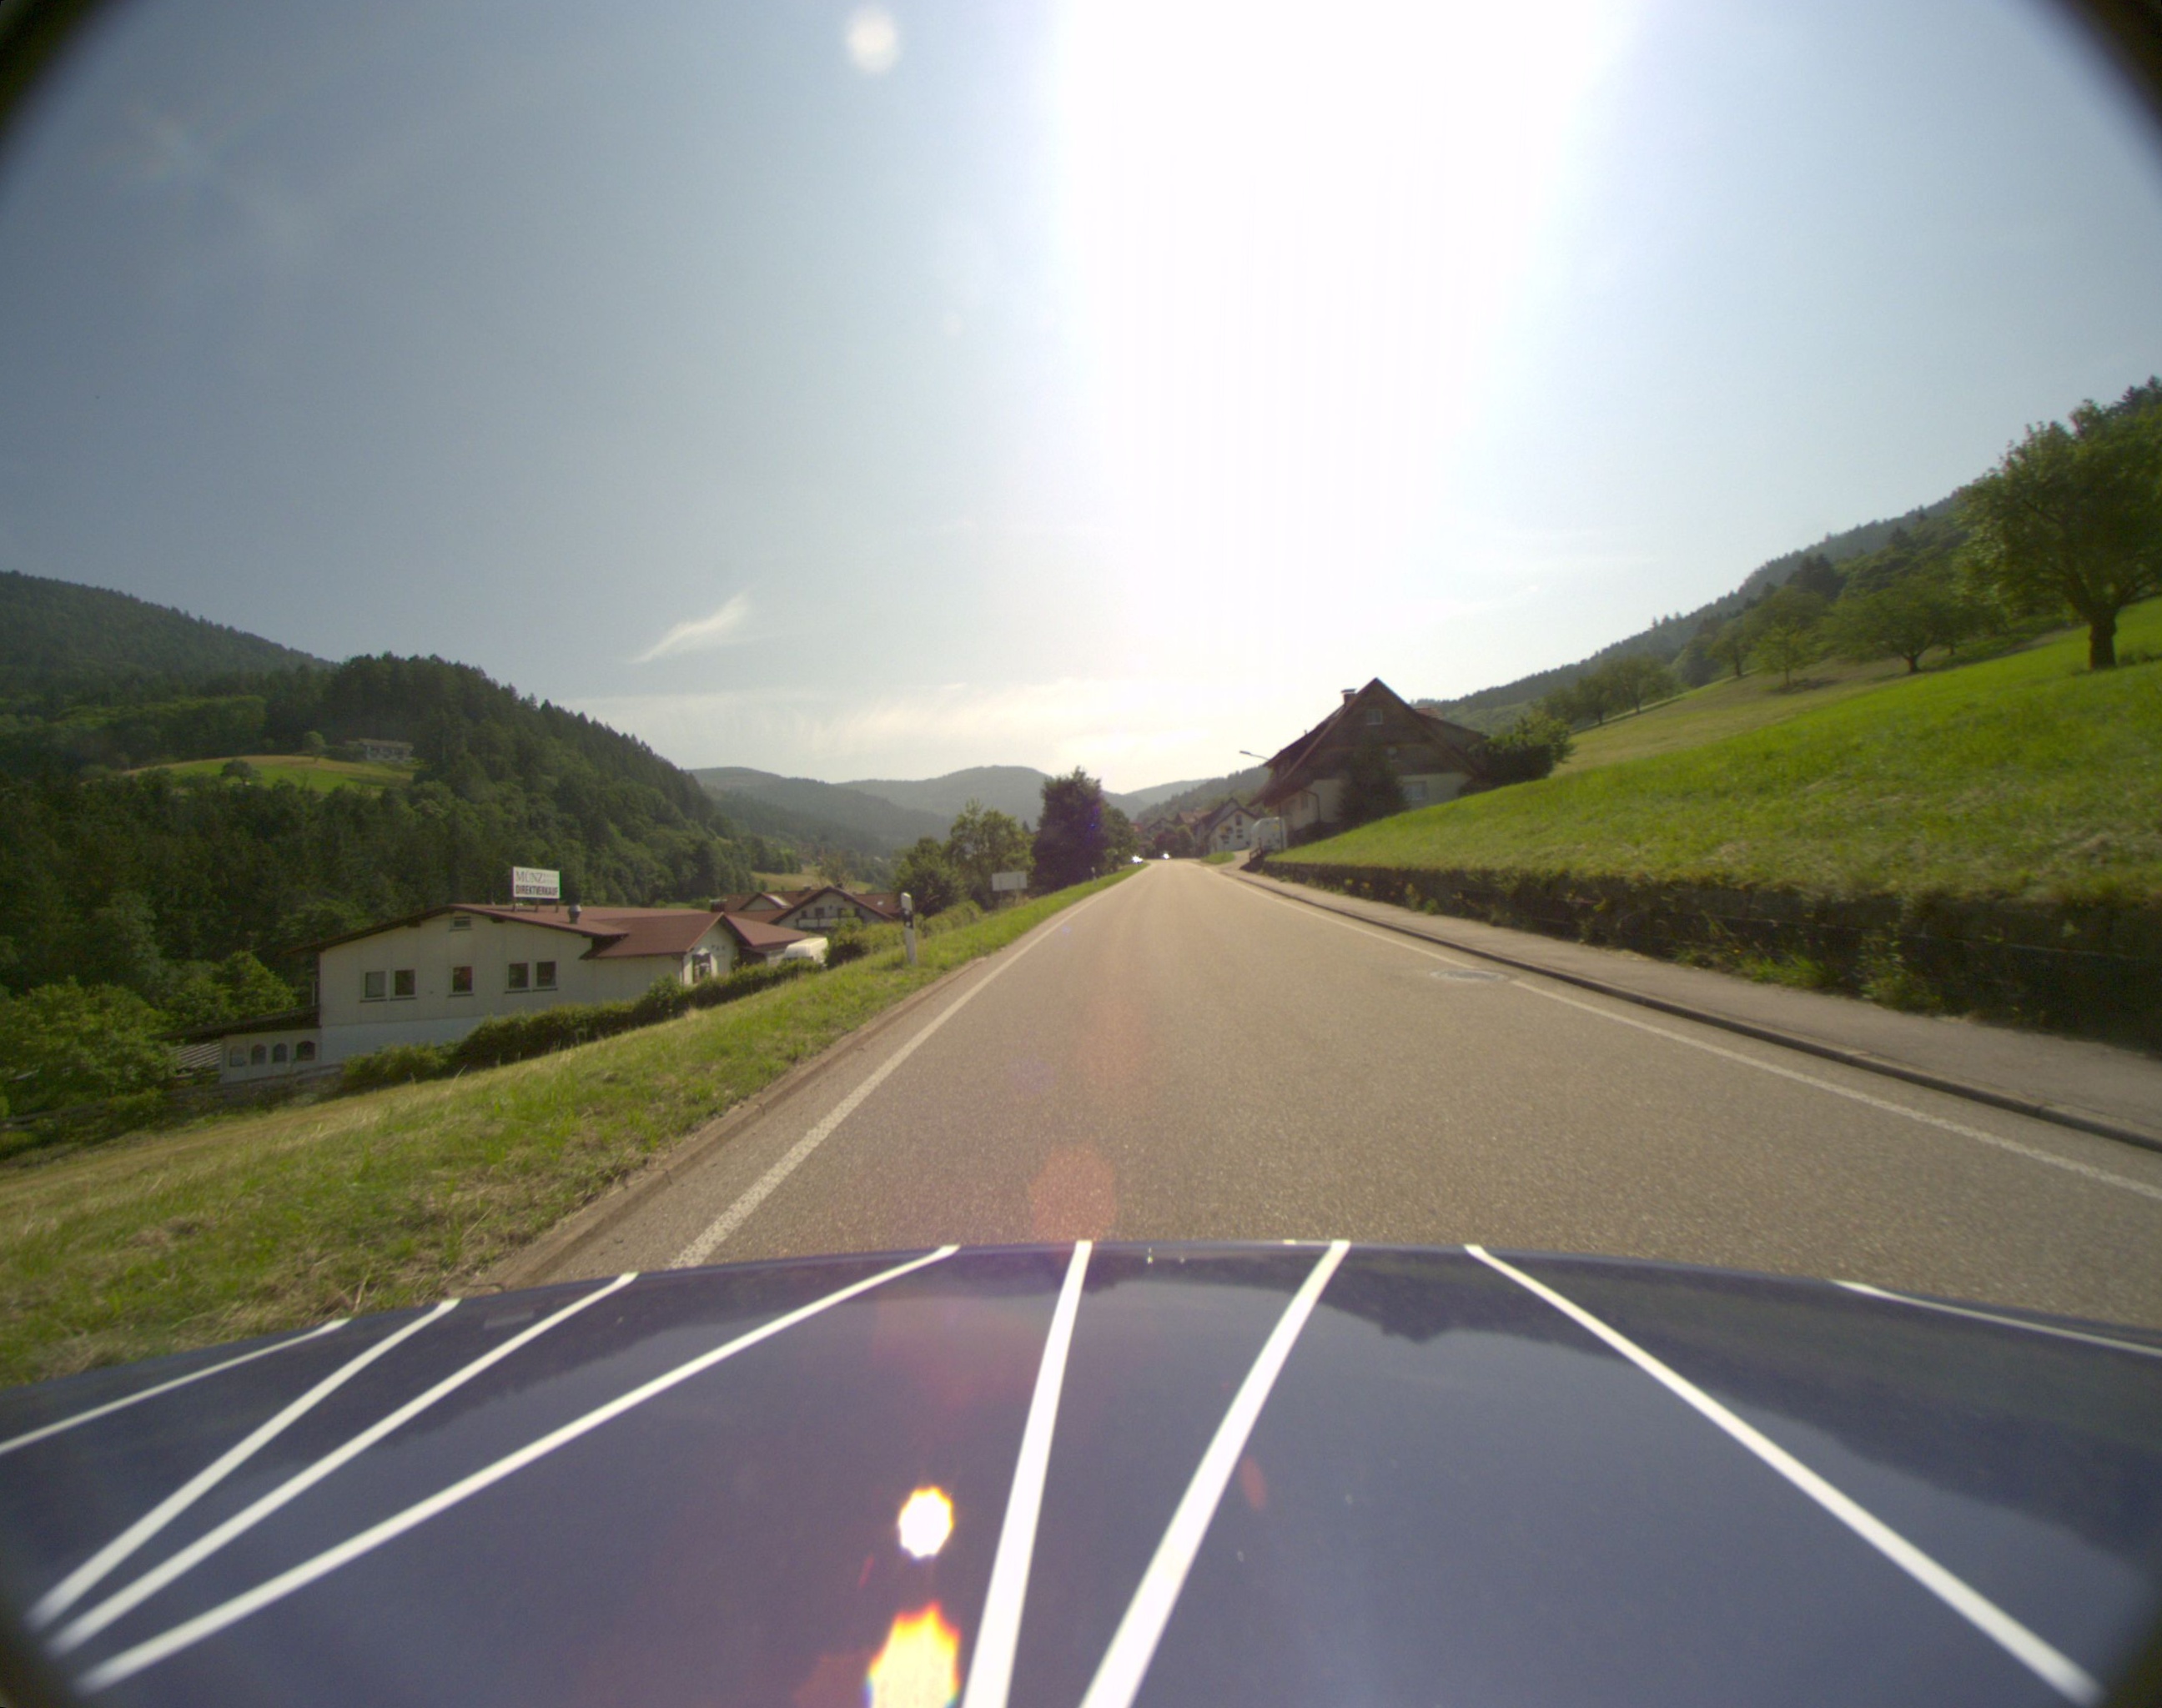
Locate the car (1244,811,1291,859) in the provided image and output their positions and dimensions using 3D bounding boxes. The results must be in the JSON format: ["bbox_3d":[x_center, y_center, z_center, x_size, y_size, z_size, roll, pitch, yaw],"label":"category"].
[{"bbox_3d":[13.052,-1.199,53.562,2.072,2.671,7.181,-5,-3,6],"label":"car"}]

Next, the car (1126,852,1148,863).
[{"bbox_3d":[11.432,0.702,155.267,1.908,1.562,4.453,-8,0,-38],"label":"car"}]
